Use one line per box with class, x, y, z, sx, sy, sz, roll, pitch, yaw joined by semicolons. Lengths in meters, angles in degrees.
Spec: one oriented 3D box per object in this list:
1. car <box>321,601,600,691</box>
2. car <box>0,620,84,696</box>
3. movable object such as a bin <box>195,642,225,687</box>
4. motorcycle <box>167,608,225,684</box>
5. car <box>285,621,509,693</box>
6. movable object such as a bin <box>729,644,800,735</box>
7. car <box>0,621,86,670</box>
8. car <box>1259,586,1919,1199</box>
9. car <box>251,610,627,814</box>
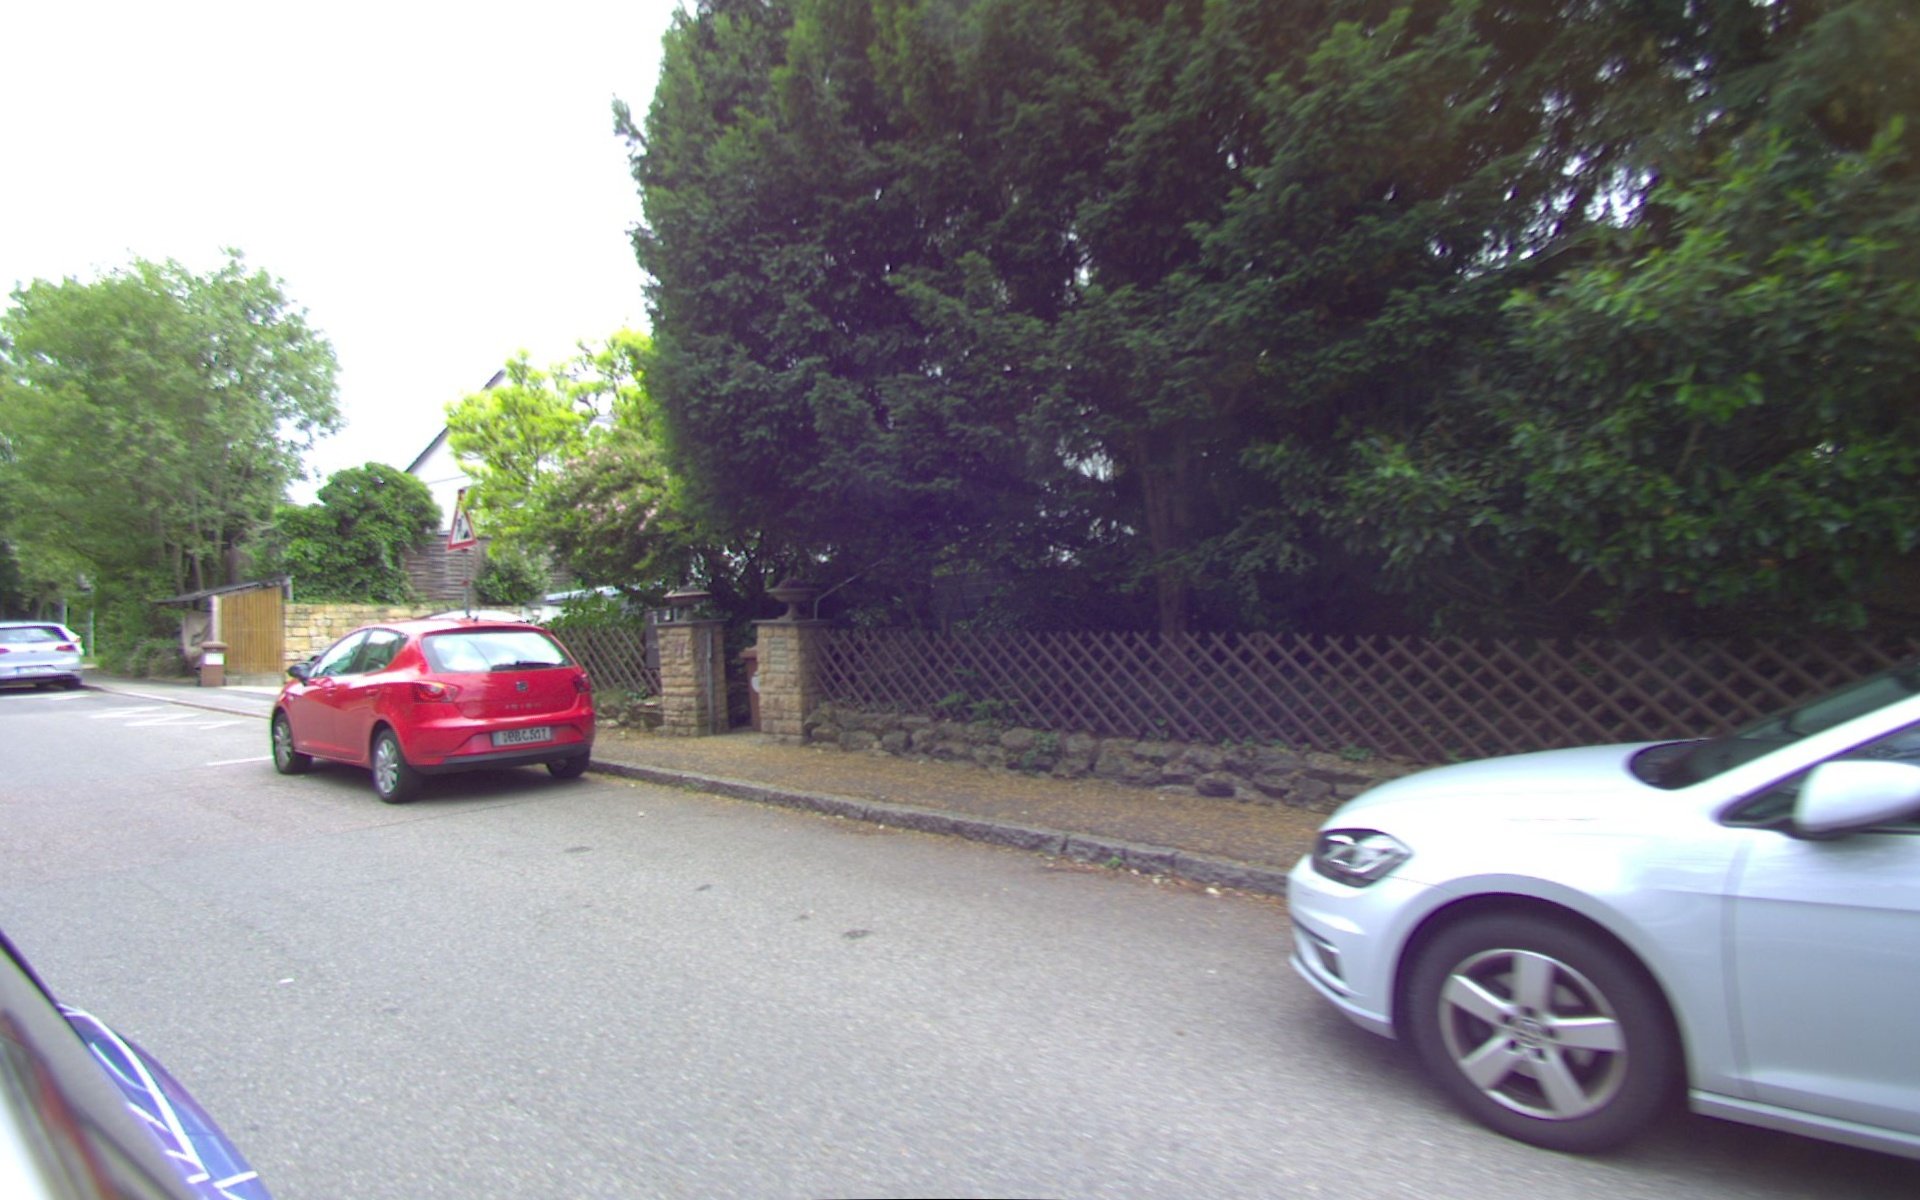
car;-9.791;0.849;20.133;1.889;1.397;4.558;-3;0;41
car;-20.144;1.196;21.303;4.036;1.460;1.744;-2;-1;36
movable object such as a bin;-15.540;1.334;20.973;0.556;0.931;0.362;-2;-5;43
motorcycle;-16.625;0.997;22.012;1.909;1.594;0.478;-2;-1;36
car;-12.471;1.333;22.615;1.820;1.397;3.916;-3;-7;38
movable object such as a bin;-2.103;0.949;10.911;0.569;0.930;0.530;-1;-1;14
car;-35.314;1.679;37.109;1.998;1.701;4.649;-2;-1;38
car;3.143;0.677;2.395;4.320;1.450;1.765;-2;-1;40
car;-4.829;0.861;9.168;3.784;1.450;1.719;-2;-1;40
